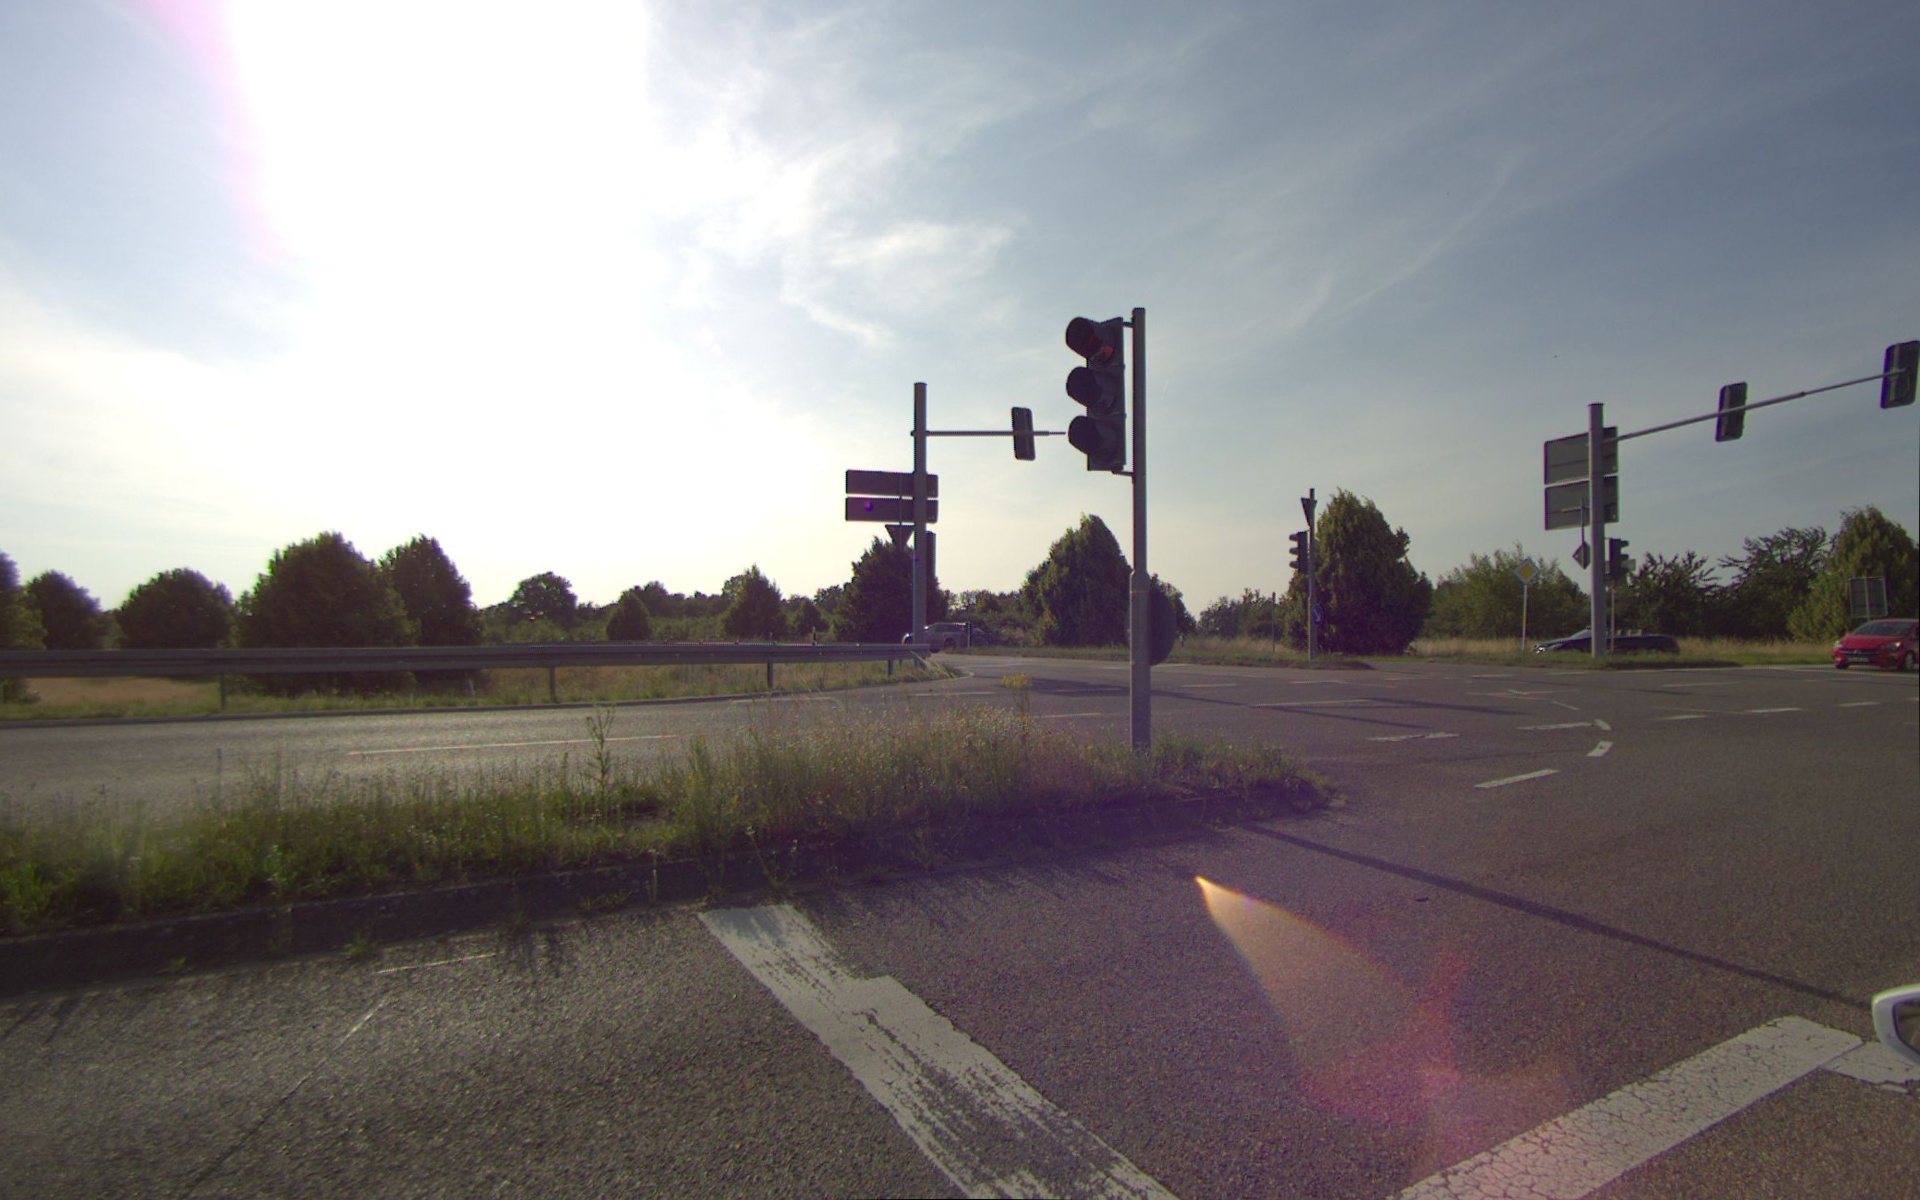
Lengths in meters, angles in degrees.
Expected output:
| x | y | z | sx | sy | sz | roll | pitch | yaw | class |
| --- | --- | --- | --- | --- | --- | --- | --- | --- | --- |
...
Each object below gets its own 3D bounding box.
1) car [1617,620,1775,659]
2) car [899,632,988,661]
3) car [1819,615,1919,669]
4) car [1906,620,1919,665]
| x | y | z | sx | sy | sz | roll | pitch | yaw | class |
| --- | --- | --- | --- | --- | --- | --- | --- | --- | --- |
| 25.788 | 1.370 | 35.239 | 4.577 | 1.299 | 1.724 | 1 | -1 | -8 | car |
| -0.861 | 2.251 | 49.082 | 4.604 | 1.309 | 1.434 | -1 | -2 | 41 | car |
| 27.253 | 1.212 | 29.490 | 3.752 | 1.508 | 1.716 | 1 | -1 | -25 | car |
| 33.370 | 1.411 | 33.210 | 3.997 | 1.452 | 1.780 | 1 | -1 | -26 | car |
